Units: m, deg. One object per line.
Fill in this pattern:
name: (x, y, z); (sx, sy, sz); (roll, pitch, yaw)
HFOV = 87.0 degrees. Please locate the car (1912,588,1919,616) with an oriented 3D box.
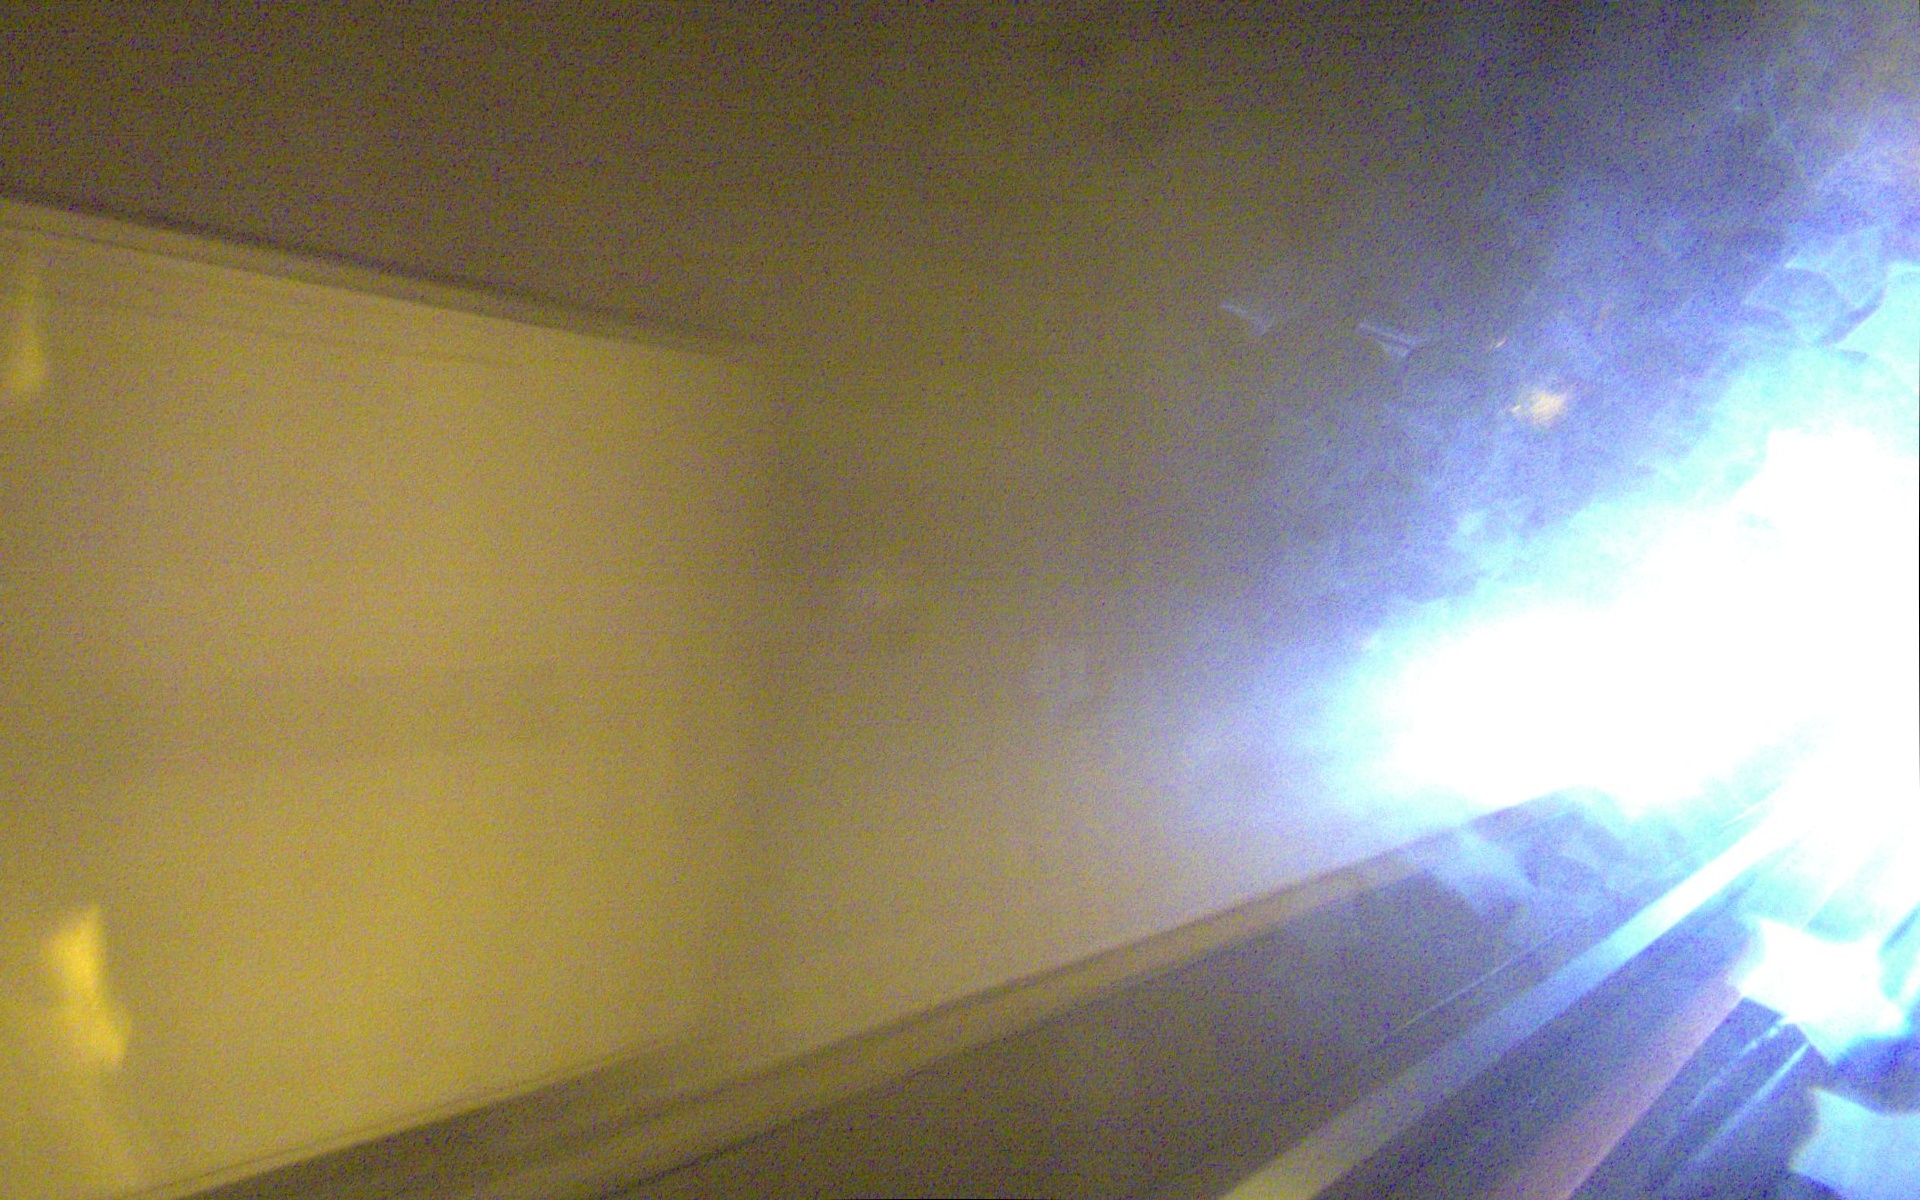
car: (63.502, 0.112, 65.945); (1.700, 1.794, 3.946); (1, 2, 38)

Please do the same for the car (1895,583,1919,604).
car: (92.870, -0.614, 99.088); (1.890, 2.028, 4.806); (0, 0, 42)
